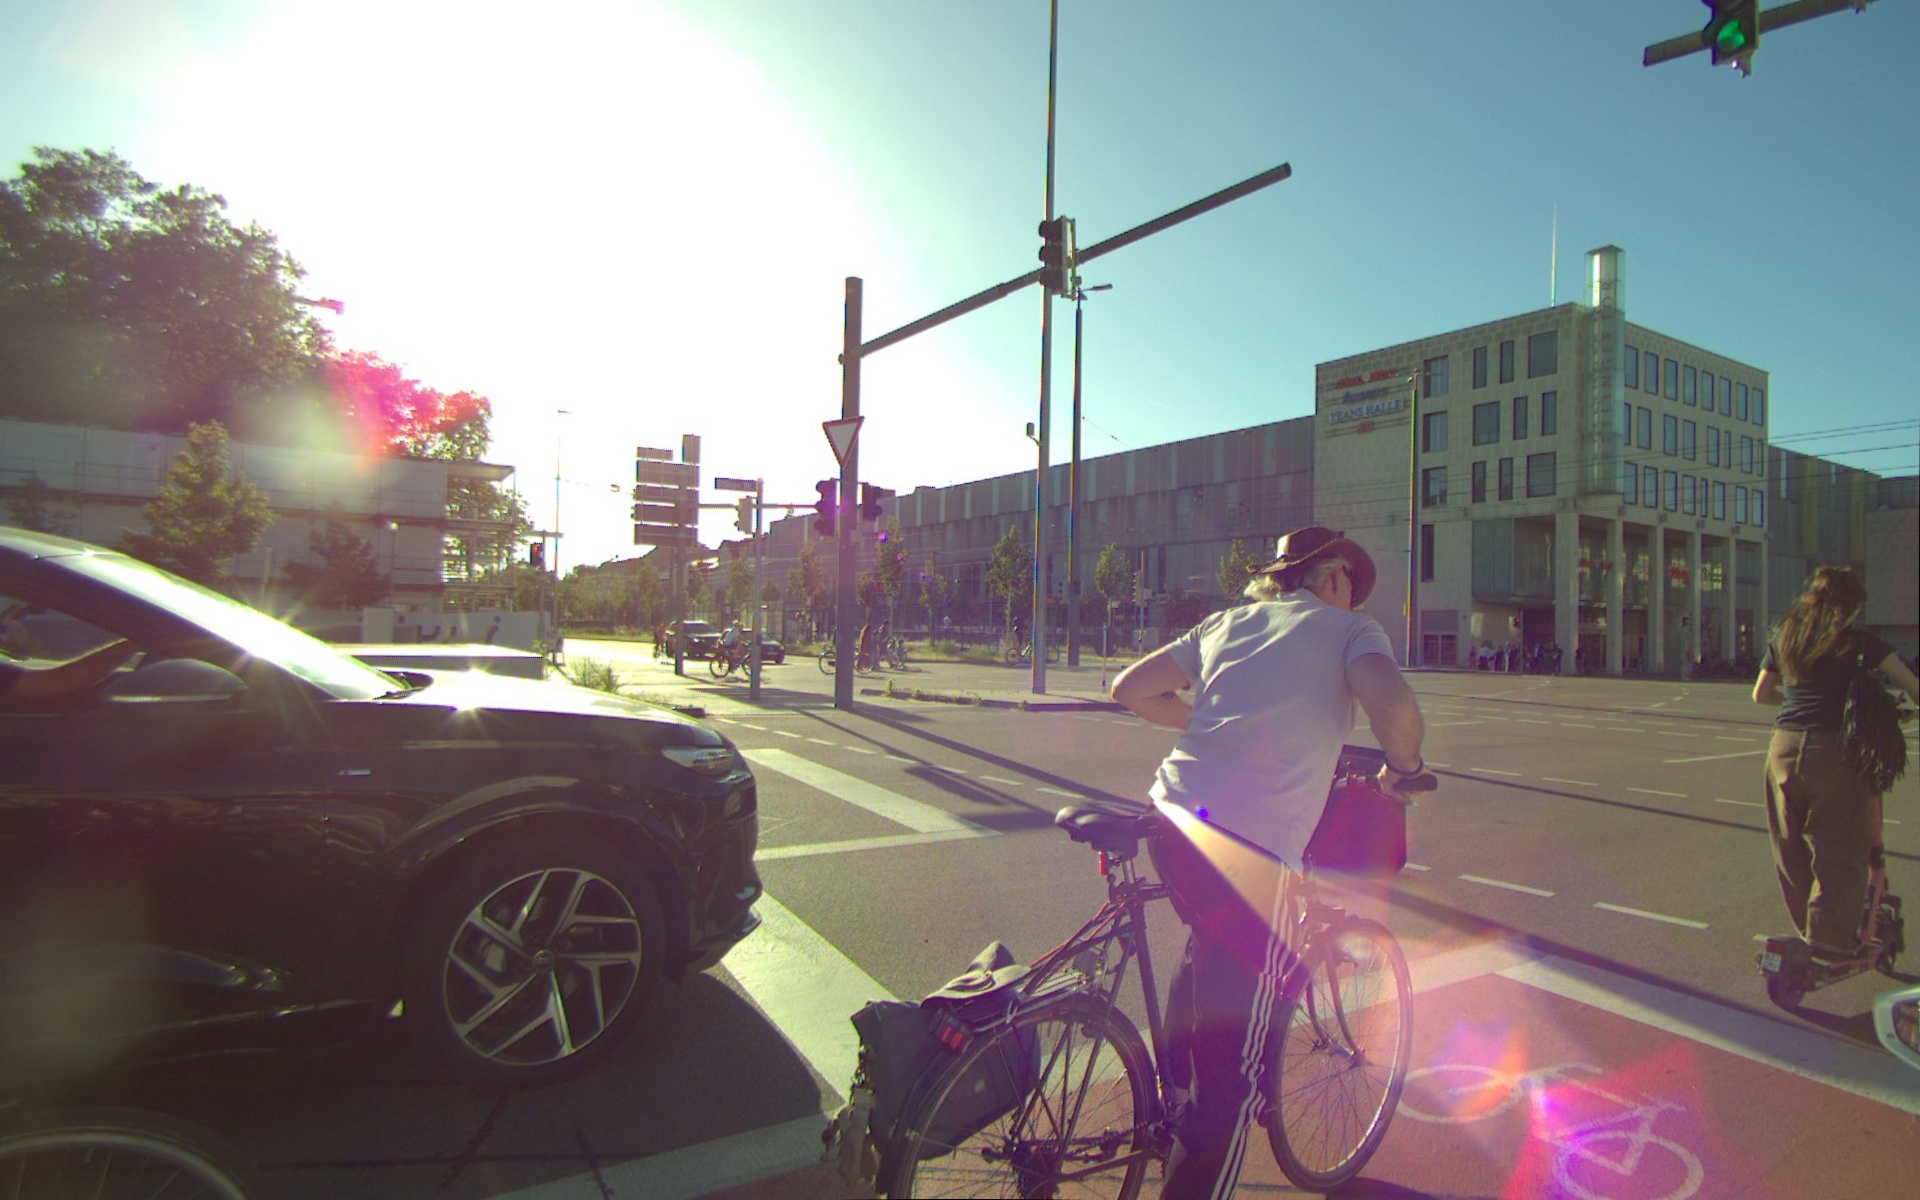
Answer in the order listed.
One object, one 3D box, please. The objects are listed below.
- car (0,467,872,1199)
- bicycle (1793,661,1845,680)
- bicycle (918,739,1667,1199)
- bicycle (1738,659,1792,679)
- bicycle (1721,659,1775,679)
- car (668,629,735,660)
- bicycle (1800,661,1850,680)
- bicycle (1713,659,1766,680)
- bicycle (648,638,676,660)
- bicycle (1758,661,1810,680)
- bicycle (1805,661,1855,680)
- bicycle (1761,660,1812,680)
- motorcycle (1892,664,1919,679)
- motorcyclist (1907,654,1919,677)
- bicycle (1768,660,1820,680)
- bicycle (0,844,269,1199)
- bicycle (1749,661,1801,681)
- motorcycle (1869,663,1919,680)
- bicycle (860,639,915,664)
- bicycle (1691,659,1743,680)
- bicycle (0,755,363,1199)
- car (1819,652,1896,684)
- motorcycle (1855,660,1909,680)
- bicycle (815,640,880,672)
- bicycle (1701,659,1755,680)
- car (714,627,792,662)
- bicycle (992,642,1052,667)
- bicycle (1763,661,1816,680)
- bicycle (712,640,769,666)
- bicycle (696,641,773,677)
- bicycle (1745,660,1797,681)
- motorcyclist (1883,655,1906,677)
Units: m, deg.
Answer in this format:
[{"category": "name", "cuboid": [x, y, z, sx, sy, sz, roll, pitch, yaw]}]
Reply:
[{"category": "car", "cuboid": [-2.889, 0.550, 3.133, 4.739, 1.684, 2.182, 2, -2, -32]}, {"category": "bicycle", "cuboid": [56.481, 4.627, 66.084, 0.824, 1.125, 2.458, 2, -2, -28]}, {"category": "bicycle", "cuboid": [0.845, 0.949, 2.301, 1.782, 1.108, 0.702, 2, -2, -35]}, {"category": "bicycle", "cuboid": [48.329, 4.125, 60.349, 0.675, 1.125, 2.458, 2, -2, -28]}, {"category": "bicycle", "cuboid": [46.725, 4.086, 59.599, 0.675, 1.125, 2.458, 2, -2, -28]}, {"category": "car", "cuboid": [-12.677, 2.153, 49.163, 1.979, 1.394, 3.963, 1, -1, -34]}, {"category": "bicycle", "cuboid": [57.195, 4.647, 66.440, 0.652, 1.125, 2.458, 2, -2, -28]}, {"category": "bicycle", "cuboid": [45.988, 4.077, 59.283, 0.675, 1.125, 2.459, 2, -2, -26]}, {"category": "bicycle", "cuboid": [-13.426, 2.192, 45.177, 0.795, 0.939, 2.062, 1, -1, -28]}, {"category": "bicycle", "cuboid": [51.202, 4.370, 62.423, 0.675, 1.125, 2.458, 2, -2, -28]}, {"category": "bicycle", "cuboid": [57.847, 4.685, 66.838, 0.652, 1.125, 2.458, 2, -2, -28]}, {"category": "bicycle", "cuboid": [52.469, 4.440, 63.774, 0.675, 1.125, 2.458, 2, -2, -28]}, {"category": "motorcycle", "cuboid": [68.814, 5.159, 72.114, 0.907, 1.009, 2.649, 2, -1, -35]}, {"category": "motorcyclist", "cuboid": [68.853, 4.728, 72.102, 0.907, 1.596, 1.129, 2, 0, -36]}, {"category": "bicycle", "cuboid": [53.495, 4.488, 64.474, 0.824, 1.125, 2.458, 2, -2, -28]}, {"category": "bicycle", "cuboid": [-1.441, 0.814, 0.459, 1.780, 1.108, 0.647, 2, -2, -32]}, {"category": "bicycle", "cuboid": [50.023, 4.321, 61.663, 0.530, 1.125, 2.458, 2, -2, -27]}, {"category": "motorcycle", "cuboid": [65.776, 5.022, 70.576, 0.907, 1.009, 2.649, 2, -1, -35]}, {"category": "bicycle", "cuboid": [-2.772, 1.974, 38.412, 2.040, 0.939, 0.804, 1, -1, -11]}, {"category": "bicycle", "cuboid": [43.659, 3.988, 57.963, 0.650, 1.127, 2.392, 2, -2, -29]}, {"category": "bicycle", "cuboid": [-1.778, 0.828, 1.193, 1.795, 1.131, 0.620, 2, -2, -31]}, {"category": "car", "cuboid": [47.746, 3.587, 53.422, 4.246, 1.601, 1.928, 2, -2, -31]}, {"category": "motorcycle", "cuboid": [63.734, 4.817, 69.453, 0.907, 1.233, 2.649, 2, -1, -35]}, {"category": "bicycle", "cuboid": [-3.578, 1.778, 31.906, 1.946, 1.010, 0.647, 1, -1, -16]}, {"category": "bicycle", "cuboid": [44.799, 4.024, 58.648, 0.675, 1.125, 2.458, 2, -2, -28]}, {"category": "car", "cuboid": [-8.950, 1.882, 43.288, 1.979, 1.394, 3.963, 1, -1, -34]}, {"category": "bicycle", "cuboid": [2.454, 2.147, 39.760, 2.368, 0.953, 0.750, 2, -2, -32]}, {"category": "bicycle", "cuboid": [51.871, 4.400, 62.824, 0.824, 1.125, 2.458, 2, -2, -28]}, {"category": "bicycle", "cuboid": [-8.294, 2.004, 37.975, 2.041, 0.939, 0.803, 1, -1, -14]}, {"category": "bicycle", "cuboid": [-6.561, 1.708, 29.274, 2.052, 0.991, 0.799, 1, -1, -30]}, {"category": "bicycle", "cuboid": [49.523, 4.299, 61.372, 0.586, 1.125, 2.458, 2, -2, -27]}, {"category": "motorcyclist", "cuboid": [65.734, 4.617, 70.639, 0.907, 1.490, 1.029, 2, 0, -36]}]
